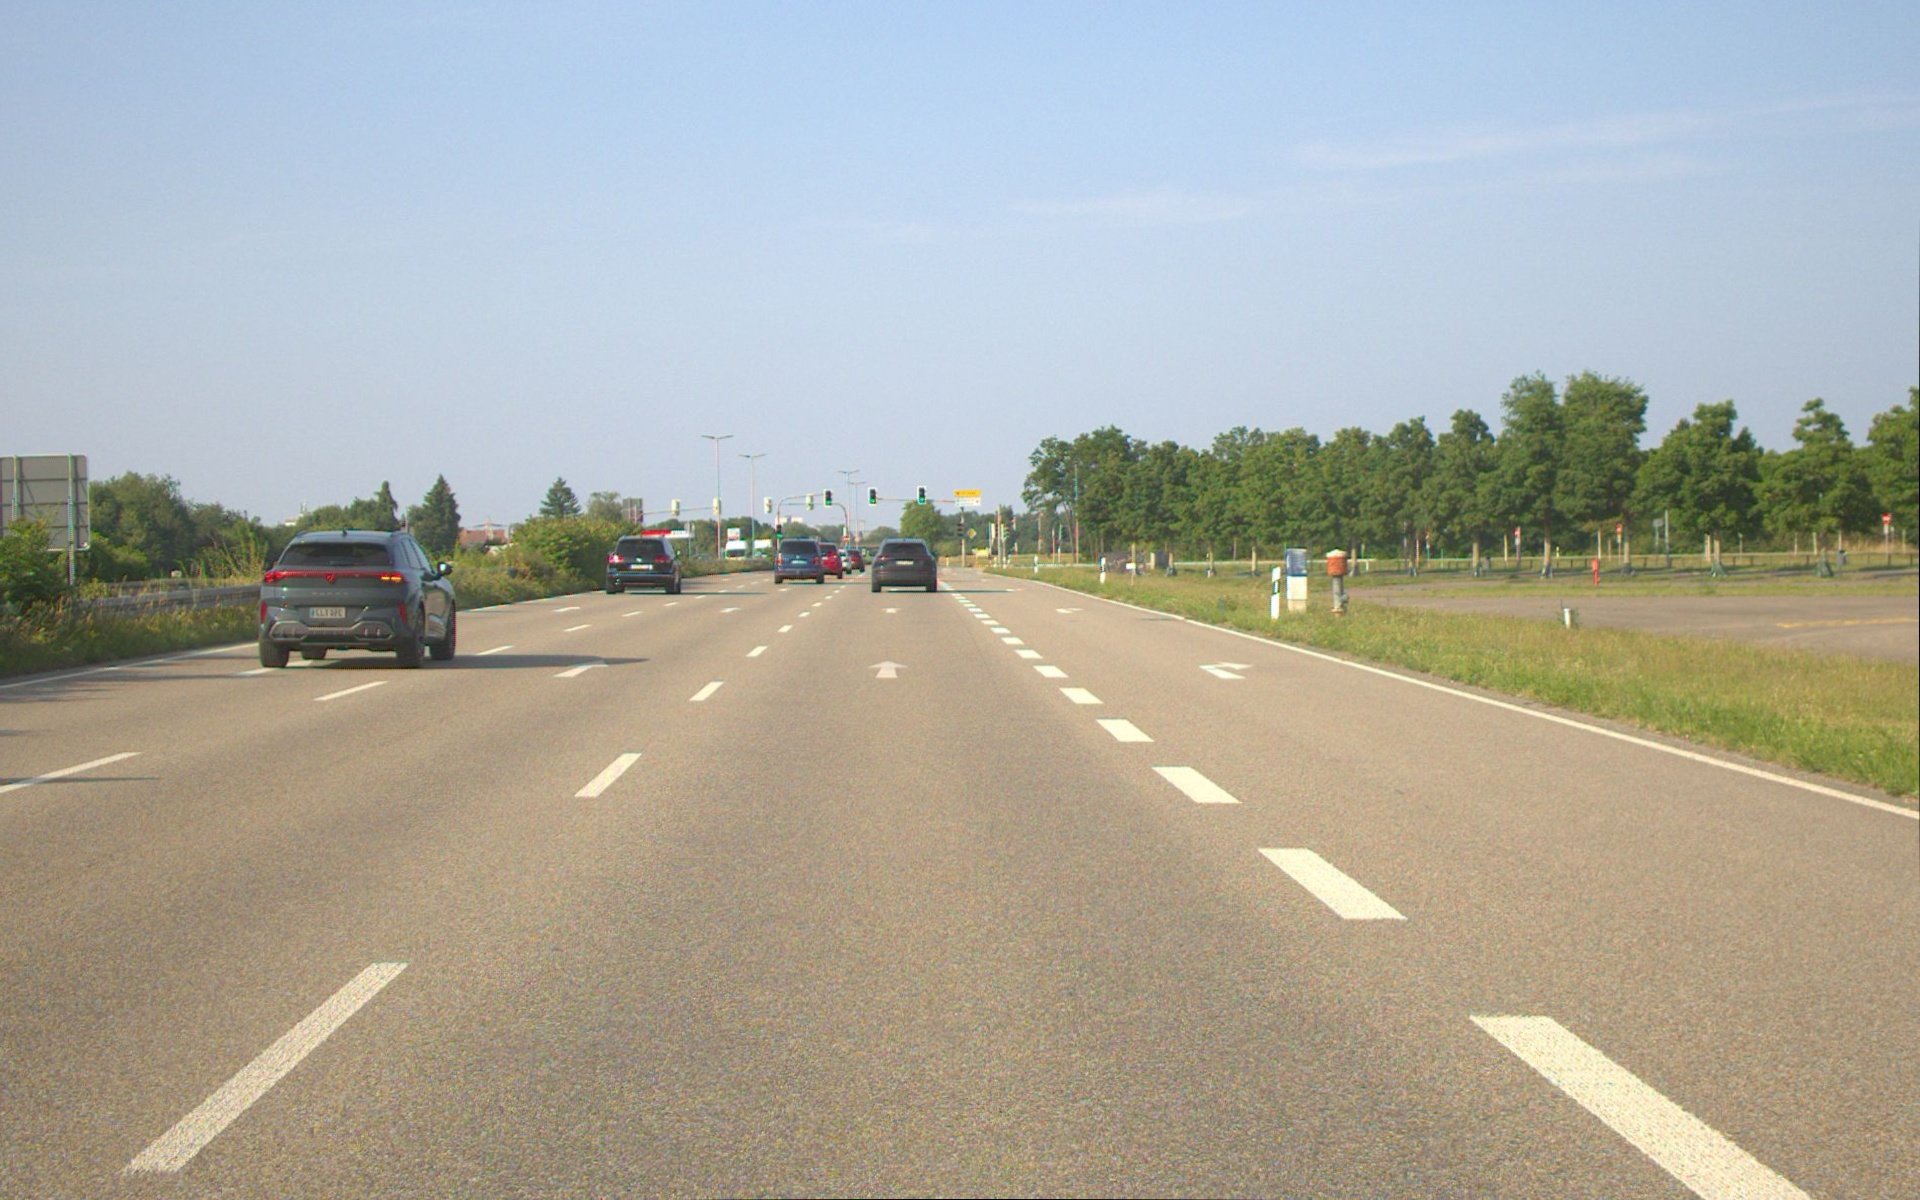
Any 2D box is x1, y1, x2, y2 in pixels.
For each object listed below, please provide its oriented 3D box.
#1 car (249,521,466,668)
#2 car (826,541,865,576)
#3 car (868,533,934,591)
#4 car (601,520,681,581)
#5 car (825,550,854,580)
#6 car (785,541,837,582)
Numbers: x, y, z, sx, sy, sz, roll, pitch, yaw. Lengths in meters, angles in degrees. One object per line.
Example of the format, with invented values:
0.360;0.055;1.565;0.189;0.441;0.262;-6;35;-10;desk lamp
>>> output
-7.082;-0.097;40.778;1.845;1.606;4.401;1;1;-1;car
-5.058;-1.856;152.536;1.647;1.458;3.981;1;1;-1;car
-1.799;-1.164;104.452;1.932;1.674;4.401;1;1;-1;car
-9.186;-1.437;99.247;1.932;1.674;4.401;1;1;-1;car
-6.999;-2.046;199.904;1.645;1.722;3.401;0;0;-2;car
-5.509;-1.455;127.521;1.812;1.458;4.401;1;1;-1;car
